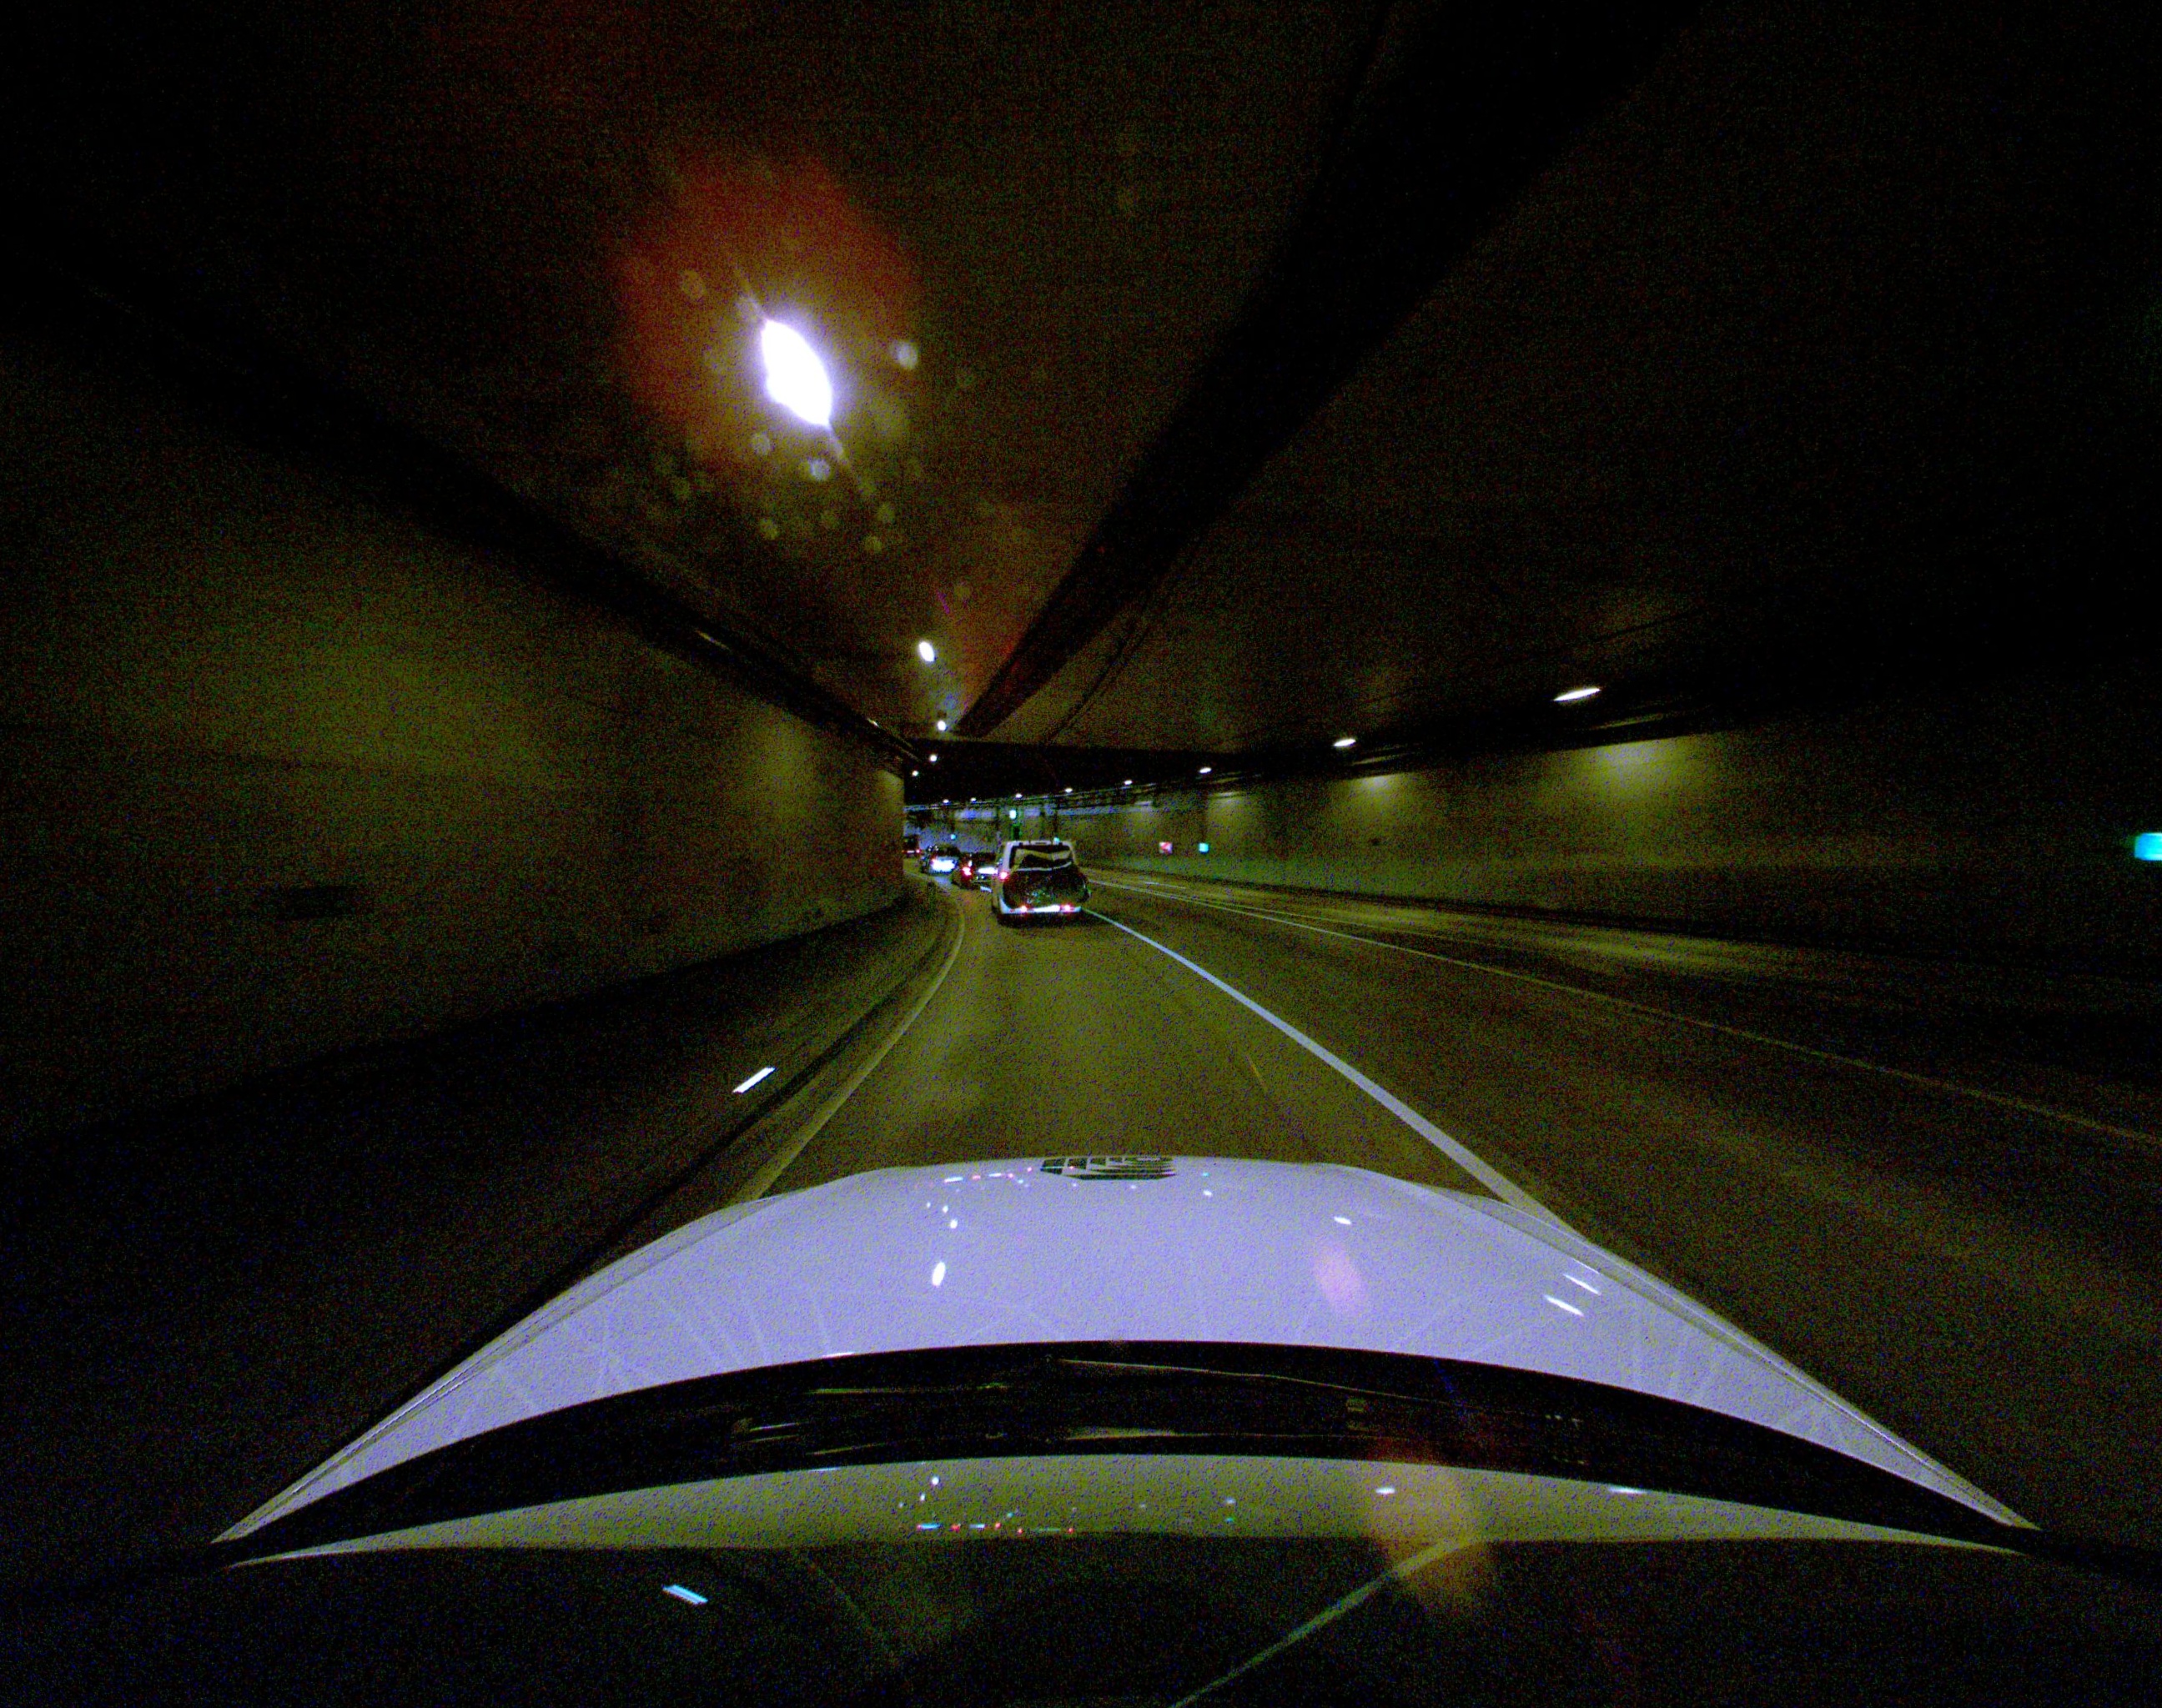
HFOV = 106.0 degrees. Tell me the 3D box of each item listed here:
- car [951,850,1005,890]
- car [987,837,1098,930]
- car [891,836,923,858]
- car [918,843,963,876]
[{"bbox_3d":[-4.126,0.597,32.386,1.606,1.395,3.259,-1,2,-17],"label":"car"},{"bbox_3d":[-1.078,0.592,19.335,1.993,1.847,5.284,-2,0,-9],"label":"car"},{"bbox_3d":[-13.500,-0.551,63.064,1.611,1.630,3.326,-1,1,-27],"label":"car"},{"bbox_3d":[-7.237,0.284,41.755,1.609,1.594,3.332,1,-1,-21],"label":"car"}]
